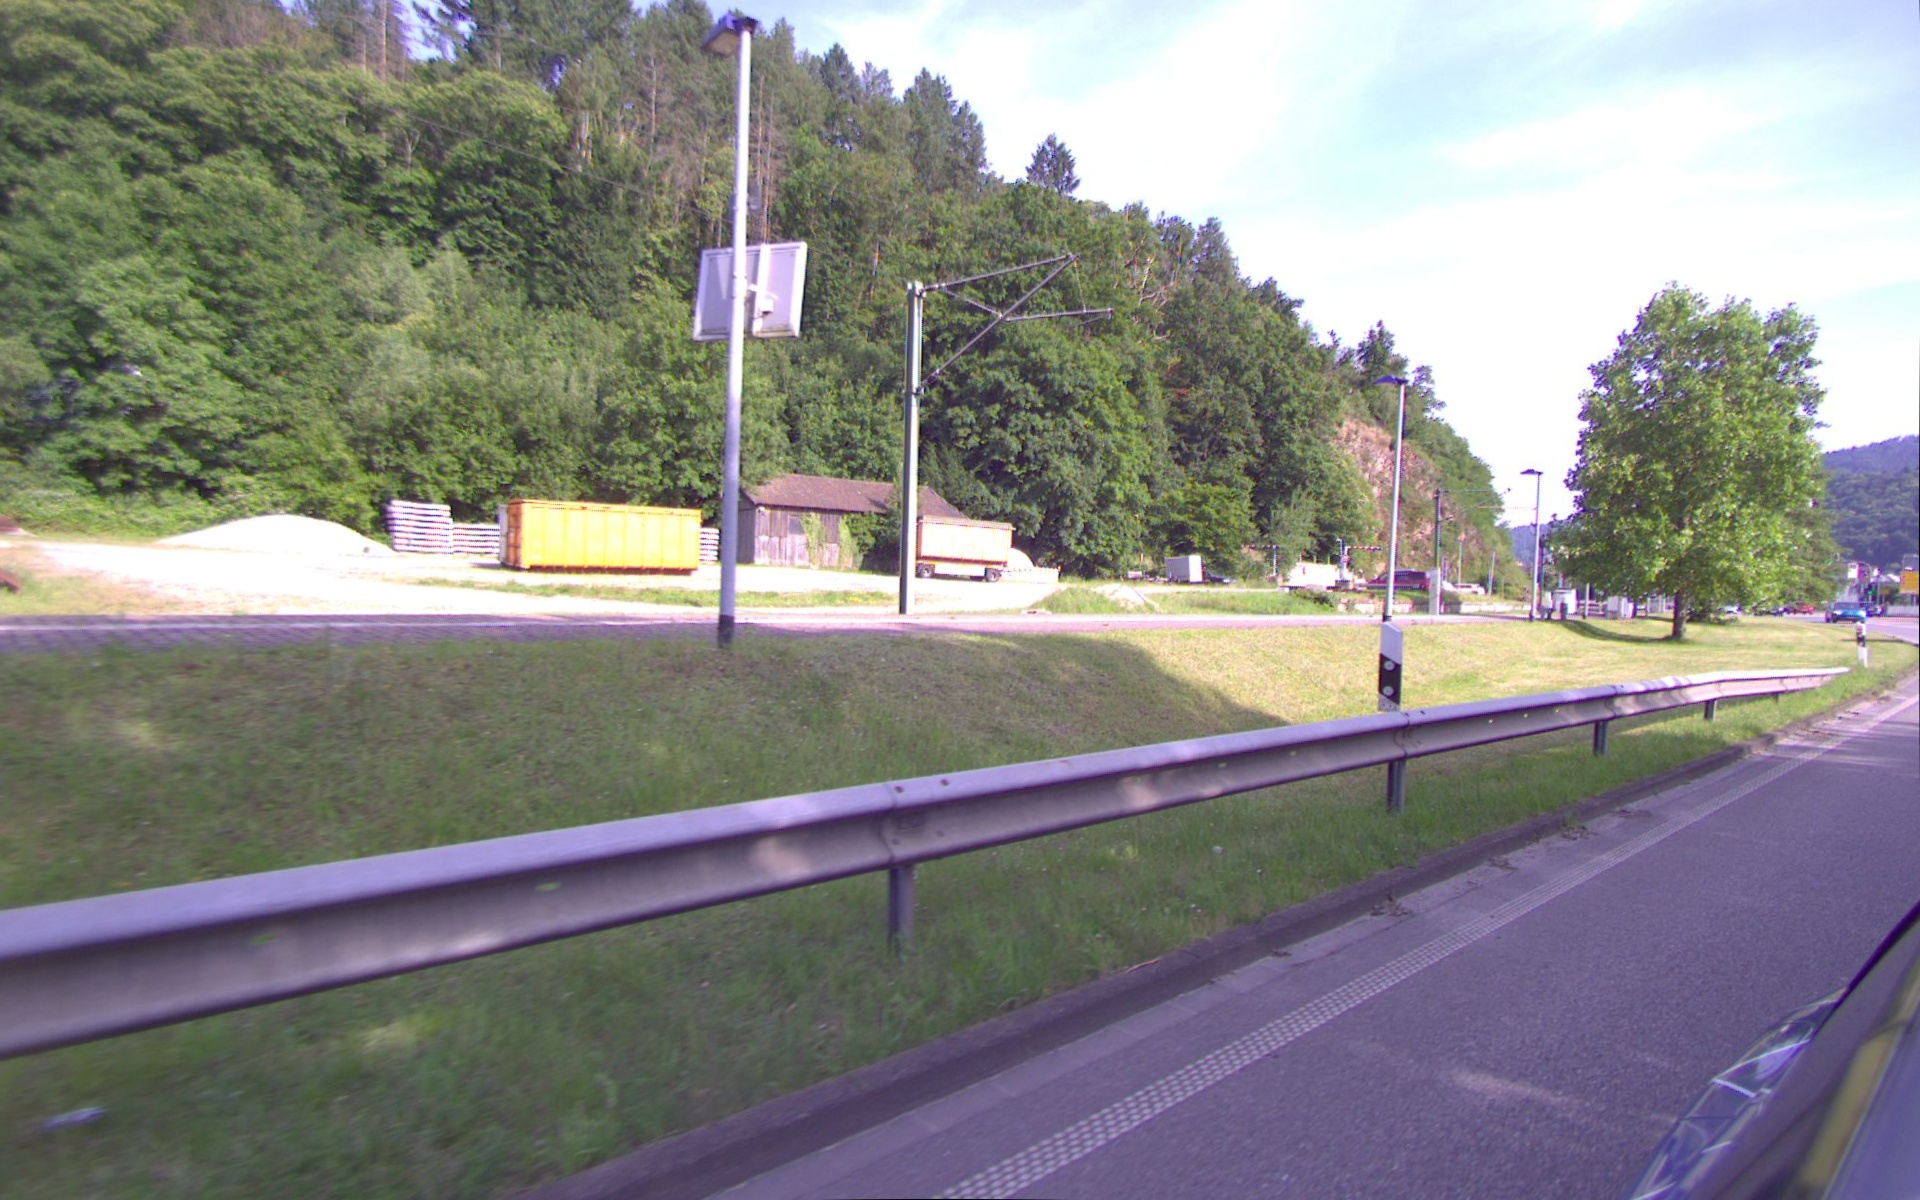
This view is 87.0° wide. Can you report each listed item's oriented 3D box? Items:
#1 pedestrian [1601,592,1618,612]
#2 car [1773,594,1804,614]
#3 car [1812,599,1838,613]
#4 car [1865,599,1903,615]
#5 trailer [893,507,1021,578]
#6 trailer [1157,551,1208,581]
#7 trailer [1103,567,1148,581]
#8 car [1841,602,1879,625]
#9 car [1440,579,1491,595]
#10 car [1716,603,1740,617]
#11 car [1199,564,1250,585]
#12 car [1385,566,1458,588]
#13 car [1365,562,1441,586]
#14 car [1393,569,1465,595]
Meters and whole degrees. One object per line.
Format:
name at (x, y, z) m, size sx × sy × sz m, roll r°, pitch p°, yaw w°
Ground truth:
pedestrian at (38.255, 0.127, 59.599) m, size 0.714 × 1.175 × 0.636 m, roll 1°, pitch 2°, yaw -44°
car at (81.405, 0.371, 99.440) m, size 1.989 × 1.815 × 3.948 m, roll 5°, pitch 3°, yaw 36°
car at (97.897, 0.667, 114.587) m, size 1.668 × 1.478 × 4.153 m, roll 1°, pitch 1°, yaw 32°
car at (88.295, 0.608, 96.772) m, size 1.843 × 1.488 × 4.490 m, roll 0°, pitch 0°, yaw 32°
trailer at (-0.115, -3.462, 62.234) m, size 7.581 × 3.941 × 2.617 m, roll 1°, pitch 2°, yaw -33°
trailer at (17.435, -2.681, 79.406) m, size 1.783 × 2.216 × 3.707 m, roll 1°, pitch 2°, yaw -33°
trailer at (12.627, -2.014, 77.347) m, size 1.703 × 0.926 × 3.074 m, roll 1°, pitch 2°, yaw -33°
car at (64.091, 0.965, 72.083) m, size 1.761 × 1.478 × 3.527 m, roll 4°, pitch 3°, yaw 38°
car at (47.949, -1.252, 96.079) m, size 4.088 × 1.415 × 1.785 m, roll 2°, pitch 1°, yaw 38°
car at (90.498, 1.150, 119.337) m, size 1.864 × 1.478 × 3.687 m, roll 4°, pitch 2°, yaw 32°
car at (20.397, -1.976, 78.187) m, size 1.639 × 1.505 × 3.615 m, roll 1°, pitch 2°, yaw -35°
car at (36.544, -1.819, 80.238) m, size 4.942 × 1.607 × 2.112 m, roll 2°, pitch 1°, yaw 38°
car at (33.273, -1.933, 76.099) m, size 4.942 × 1.712 × 1.909 m, roll 2°, pitch 1°, yaw 38°
car at (38.080, -1.482, 82.159) m, size 4.942 × 1.968 × 2.112 m, roll 2°, pitch 1°, yaw 38°
